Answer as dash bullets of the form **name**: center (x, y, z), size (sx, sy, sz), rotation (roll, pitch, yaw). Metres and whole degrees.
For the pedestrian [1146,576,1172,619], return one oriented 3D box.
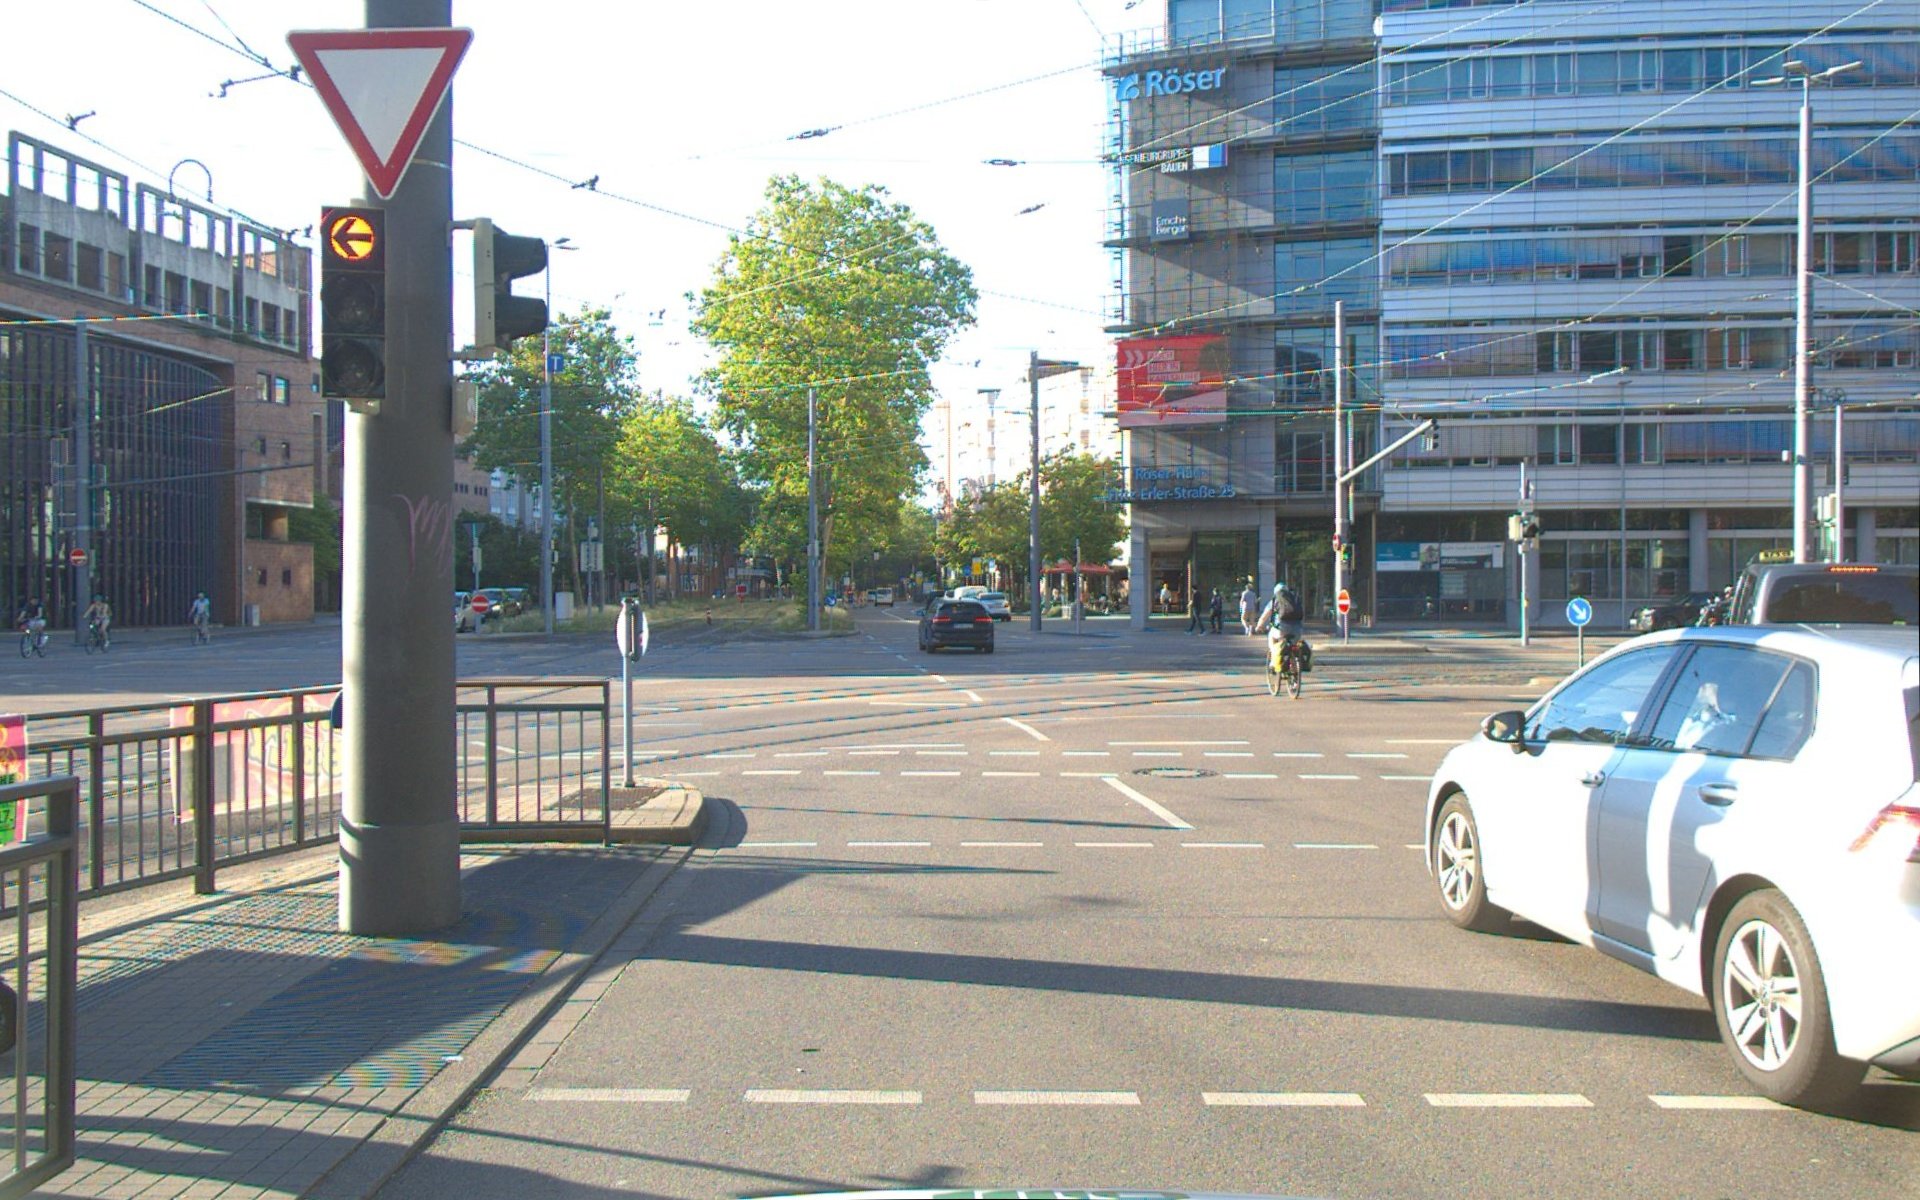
- **pedestrian**: center (10.357, -0.133, 85.991), size (1.285, 2.228, 1.171), rotation (1, -1, 5)

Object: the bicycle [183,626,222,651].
- **bicycle**: center (-26.126, 1.323, 57.092), size (0.578, 0.784, 1.966), rotation (-1, 0, -5)

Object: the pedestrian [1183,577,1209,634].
- **pedestrian**: center (8.653, 0.213, 60.622), size (0.832, 2.049, 0.707), rotation (1, -1, -2)

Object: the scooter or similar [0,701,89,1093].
- **scooter or similar**: center (-3.358, 0.878, 4.922), size (1.177, 1.100, 0.648), rotation (-1, 0, 3)

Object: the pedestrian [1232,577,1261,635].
- **pedestrian**: center (10.308, 0.210, 59.470), size (0.852, 2.049, 0.793), rotation (1, -1, -1)

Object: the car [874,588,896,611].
- **car**: center (-7.559, -0.060, 166.594), size (1.952, 2.049, 3.999), rotation (1, -4, 0)

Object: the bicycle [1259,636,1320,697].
- **bicycle**: center (4.779, 0.952, 24.075), size (0.481, 0.802, 1.861), rotation (1, 0, -1)

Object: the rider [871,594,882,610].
- **rider**: center (-10.662, 0.297, 210.731), size (1.246, 2.049, 0.954), rotation (1, -1, -7)

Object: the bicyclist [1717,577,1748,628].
- **bicyclist**: center (23.248, 0.076, 49.767), size (0.649, 1.529, 0.613), rotation (-1, 0, 4)

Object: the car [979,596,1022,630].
- **car**: center (2.012, 0.658, 82.795), size (1.988, 1.624, 3.999), rotation (1, 0, -1)

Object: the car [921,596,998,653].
- **car**: center (-0.066, 0.616, 44.089), size (1.729, 1.429, 4.292), rotation (0, 0, -5)

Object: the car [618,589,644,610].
- **car**: center (-26.072, -0.014, 131.228), size (1.644, 1.635, 3.994), rotation (1, 0, -7)

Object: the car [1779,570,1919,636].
- **car**: center (25.226, 0.061, 45.778), size (4.165, 1.753, 1.885), rotation (-1, 0, 2)

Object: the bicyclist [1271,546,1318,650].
- **bicyclist**: center (4.823, -0.029, 23.882), size (0.477, 1.464, 0.615), rotation (3, -1, -1)

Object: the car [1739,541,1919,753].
- **car**: center (9.392, 0.405, 17.441), size (1.962, 1.929, 4.876), rotation (1, 1, 27)

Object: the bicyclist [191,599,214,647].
- **bicyclist**: center (-26.123, 0.796, 57.028), size (0.575, 1.654, 0.514), rotation (-1, 0, -6)

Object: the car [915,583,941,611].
- **car**: center (-2.426, -0.208, 126.647), size (1.953, 2.049, 3.999), rotation (1, 0, -1)

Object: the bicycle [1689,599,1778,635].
- **bicycle**: center (23.267, 0.500, 49.781), size (2.359, 1.040, 0.637), rotation (-1, 0, 4)

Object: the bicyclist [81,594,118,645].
- **bicyclist**: center (-25.899, 0.582, 49.805), size (0.640, 1.500, 1.031), rotation (0, 0, -6)

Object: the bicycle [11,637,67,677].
- **bicycle**: center (-25.478, 1.559, 45.794), size (0.680, 1.016, 1.898), rotation (-1, 0, -8)

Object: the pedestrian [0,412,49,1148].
- **pedestrian**: center (-3.093, 0.477, 4.112), size (1.143, 1.917, 0.854), rotation (-1, 0, 4)

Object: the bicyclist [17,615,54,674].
- **bicyclist**: center (-25.452, 1.227, 45.541), size (0.648, 1.597, 0.757), rotation (-1, 0, -8)

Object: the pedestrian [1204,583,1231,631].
- **pedestrian**: center (9.462, 0.244, 60.796), size (0.852, 1.737, 0.793), rotation (1, -1, -1)

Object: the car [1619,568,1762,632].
- **car**: center (24.441, 0.005, 55.427), size (3.906, 2.049, 2.000), rotation (1, 0, -1)

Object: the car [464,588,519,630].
- **car**: center (-21.090, 0.379, 74.574), size (1.787, 1.821, 3.994), rotation (-1, 0, -7)

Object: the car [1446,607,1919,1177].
- **car**: center (3.272, 0.780, 6.325), size (1.712, 1.443, 4.001), rotation (1, 0, 1)

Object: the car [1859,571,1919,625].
- **car**: center (29.424, -0.032, 49.619), size (3.903, 1.579, 1.798), rotation (1, 0, 4)

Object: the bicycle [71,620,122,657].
- **bicycle**: center (-25.885, 1.146, 49.587), size (0.639, 1.068, 2.010), rotation (0, 0, -6)

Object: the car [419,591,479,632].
- **car**: center (-20.640, 0.452, 66.974), size (1.591, 1.604, 3.994), rotation (-1, 0, -7)

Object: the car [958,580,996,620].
- **car**: center (0.892, 0.007, 89.812), size (1.953, 2.049, 3.999), rotation (1, 0, -1)
